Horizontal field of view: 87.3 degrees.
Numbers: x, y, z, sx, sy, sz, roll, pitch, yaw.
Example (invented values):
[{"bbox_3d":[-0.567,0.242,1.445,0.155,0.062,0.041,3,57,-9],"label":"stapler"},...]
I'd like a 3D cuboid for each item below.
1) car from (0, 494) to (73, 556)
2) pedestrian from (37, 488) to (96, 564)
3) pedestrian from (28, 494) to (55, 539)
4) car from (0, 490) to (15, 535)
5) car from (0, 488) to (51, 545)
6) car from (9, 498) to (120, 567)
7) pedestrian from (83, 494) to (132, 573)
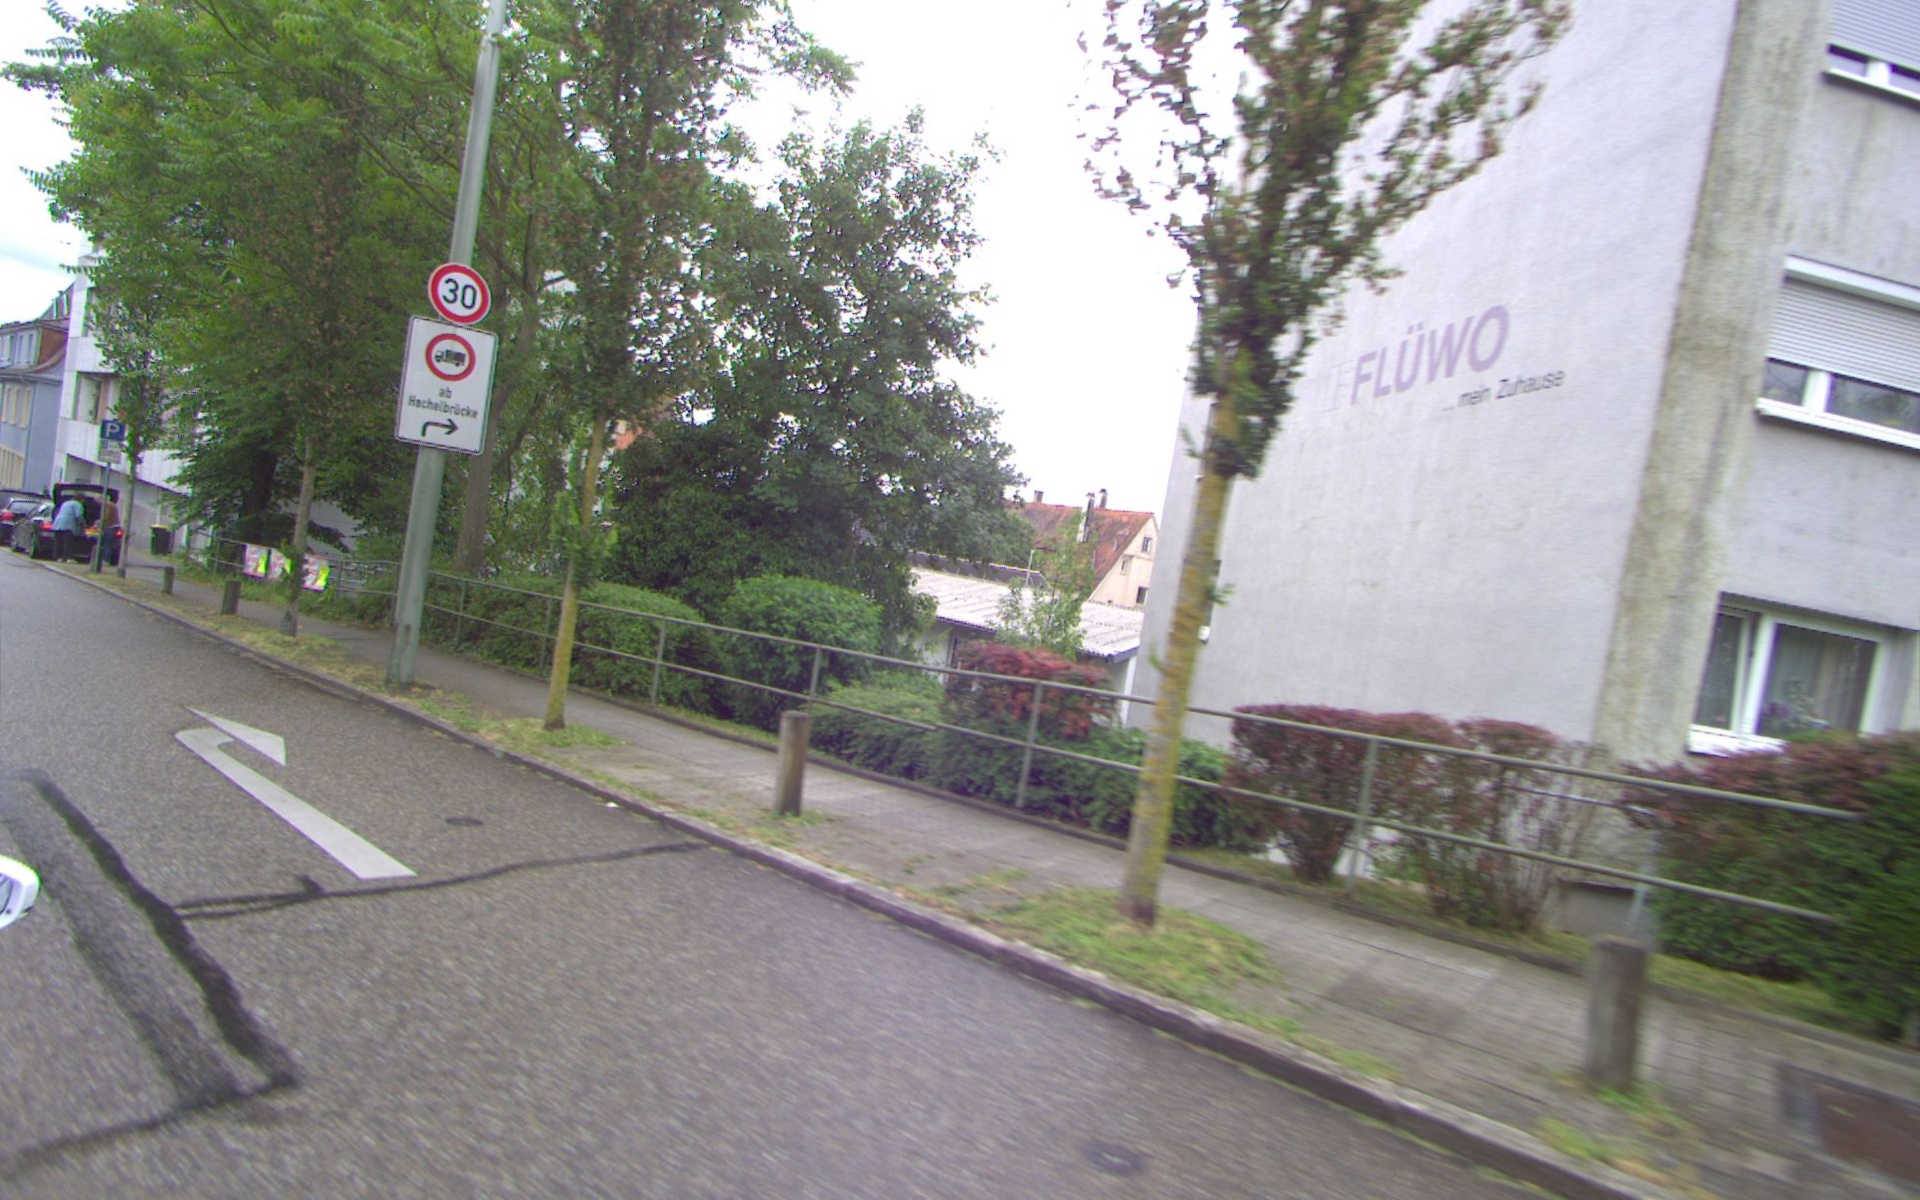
[{"bbox_3d":[-27.698,-2.271,29.739,3.944,1.483,1.678,8,2,41],"label":"car"},{"bbox_3d":[-21.731,-1.783,24.475,0.751,1.747,0.736,7,3,15],"label":"pedestrian"},{"bbox_3d":[-38.907,-3.539,42.616,0.534,1.806,0.644,8,2,41],"label":"pedestrian"},{"bbox_3d":[-36.621,-3.412,37.513,4.229,1.512,1.581,8,2,42],"label":"car"},{"bbox_3d":[-31.142,-2.799,32.857,3.944,1.591,1.682,8,2,41],"label":"car"},{"bbox_3d":[-23.330,-1.786,26.177,3.942,1.453,1.502,6,1,39],"label":"car"},{"bbox_3d":[-21.332,-1.655,25.181,0.654,1.861,0.687,7,4,28],"label":"pedestrian"}]
